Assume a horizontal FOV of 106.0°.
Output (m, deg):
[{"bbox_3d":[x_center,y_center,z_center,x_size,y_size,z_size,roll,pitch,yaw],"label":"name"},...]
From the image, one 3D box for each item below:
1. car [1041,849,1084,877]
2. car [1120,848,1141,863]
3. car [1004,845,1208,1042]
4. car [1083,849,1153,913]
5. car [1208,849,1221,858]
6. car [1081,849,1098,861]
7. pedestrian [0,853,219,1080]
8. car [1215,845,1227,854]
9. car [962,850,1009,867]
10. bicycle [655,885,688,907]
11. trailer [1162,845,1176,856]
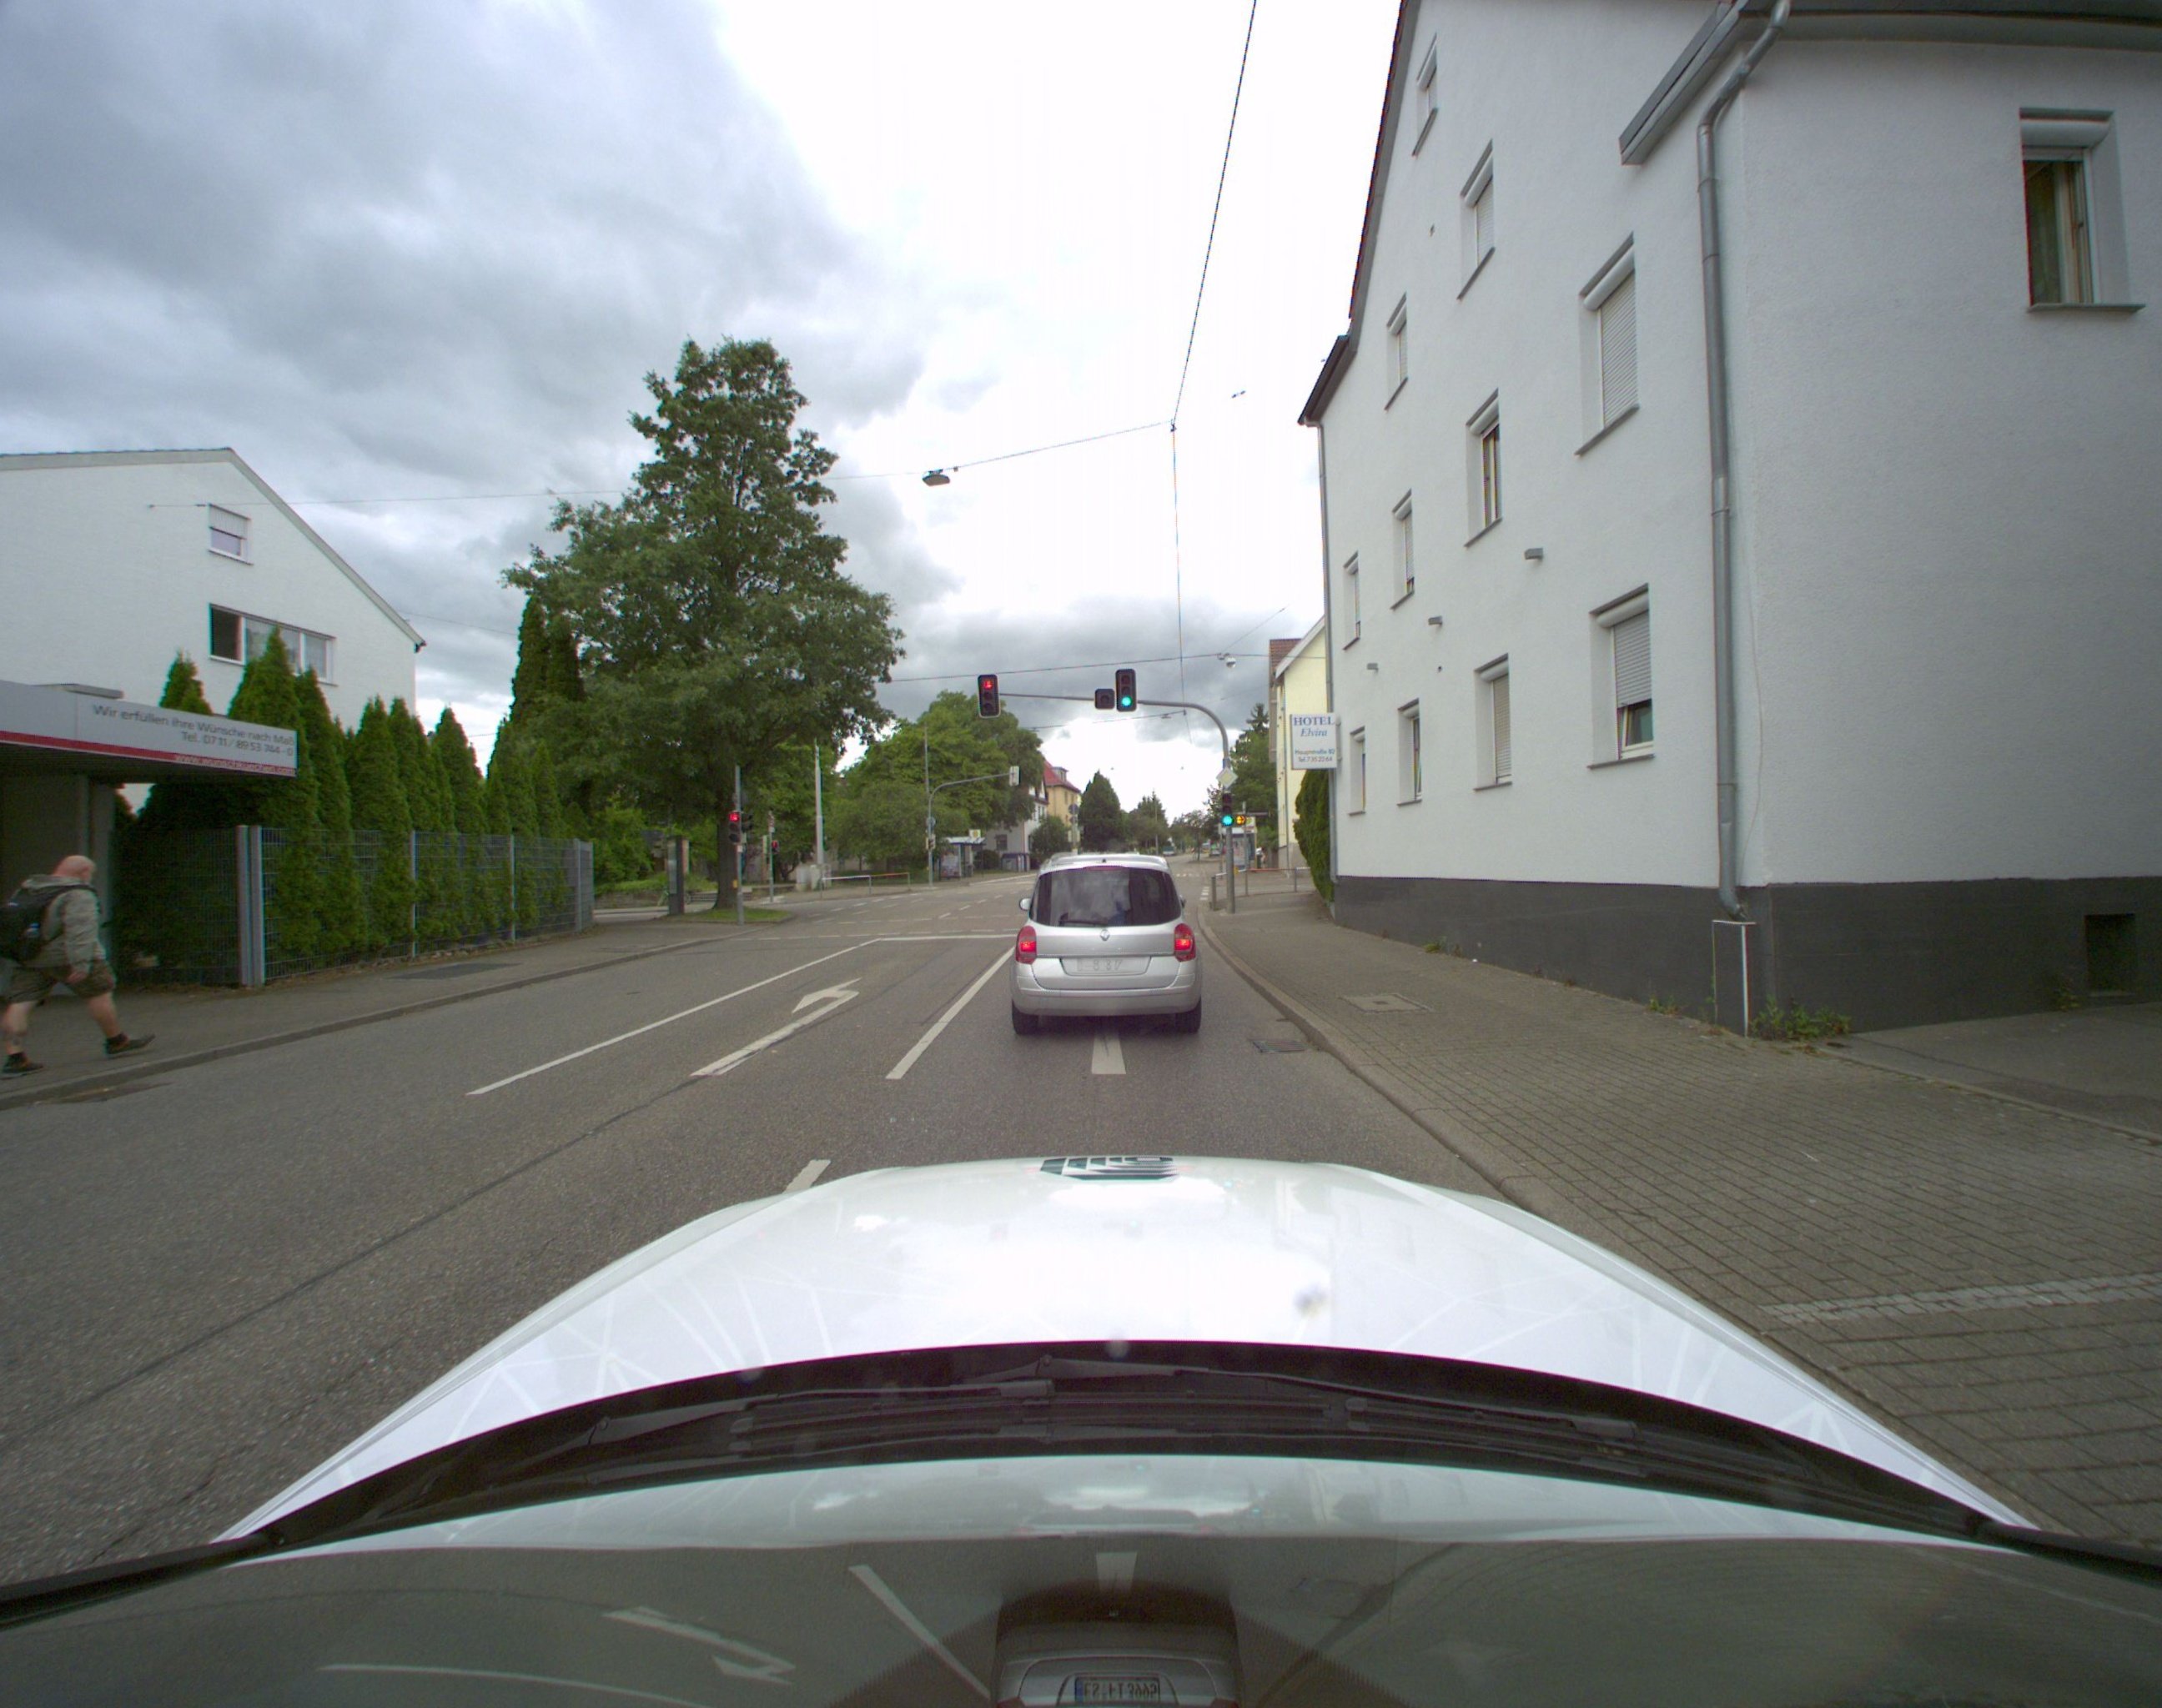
[{"bbox_3d":[-1.148,0.584,53.421,1.747,1.635,4.609,-4,-1,11],"label":"car"},{"bbox_3d":[5.037,0.169,81.907,1.554,1.420,4.142,-2,-1,10],"label":"car"},{"bbox_3d":[0.334,0.730,8.499,1.623,1.557,4.004,0,-1,4],"label":"car"},{"bbox_3d":[1.164,0.738,23.996,1.820,1.675,3.579,-2,0,5],"label":"car"},{"bbox_3d":[20.165,-0.077,122.955,1.639,1.382,4.013,-1,-1,12],"label":"car"},{"bbox_3d":[1.209,0.098,114.830,1.796,1.564,4.629,-4,0,8],"label":"car"},{"bbox_3d":[-8.417,0.878,6.926,0.818,1.754,1.230,0,-1,2],"label":"pedestrian"},{"bbox_3d":[24.379,-0.761,141.649,1.650,1.393,3.682,-2,0,14],"label":"car"},{"bbox_3d":[-8.953,0.416,76.626,3.963,1.332,1.727,-4,-1,9],"label":"car"},{"bbox_3d":[-20.211,2.054,40.183,1.312,0.942,0.424,-5,0,-7],"label":"bicycle"},{"bbox_3d":[17.725,-0.660,164.396,2.297,2.087,5.889,0,-1,10],"label":"trailer"}]
